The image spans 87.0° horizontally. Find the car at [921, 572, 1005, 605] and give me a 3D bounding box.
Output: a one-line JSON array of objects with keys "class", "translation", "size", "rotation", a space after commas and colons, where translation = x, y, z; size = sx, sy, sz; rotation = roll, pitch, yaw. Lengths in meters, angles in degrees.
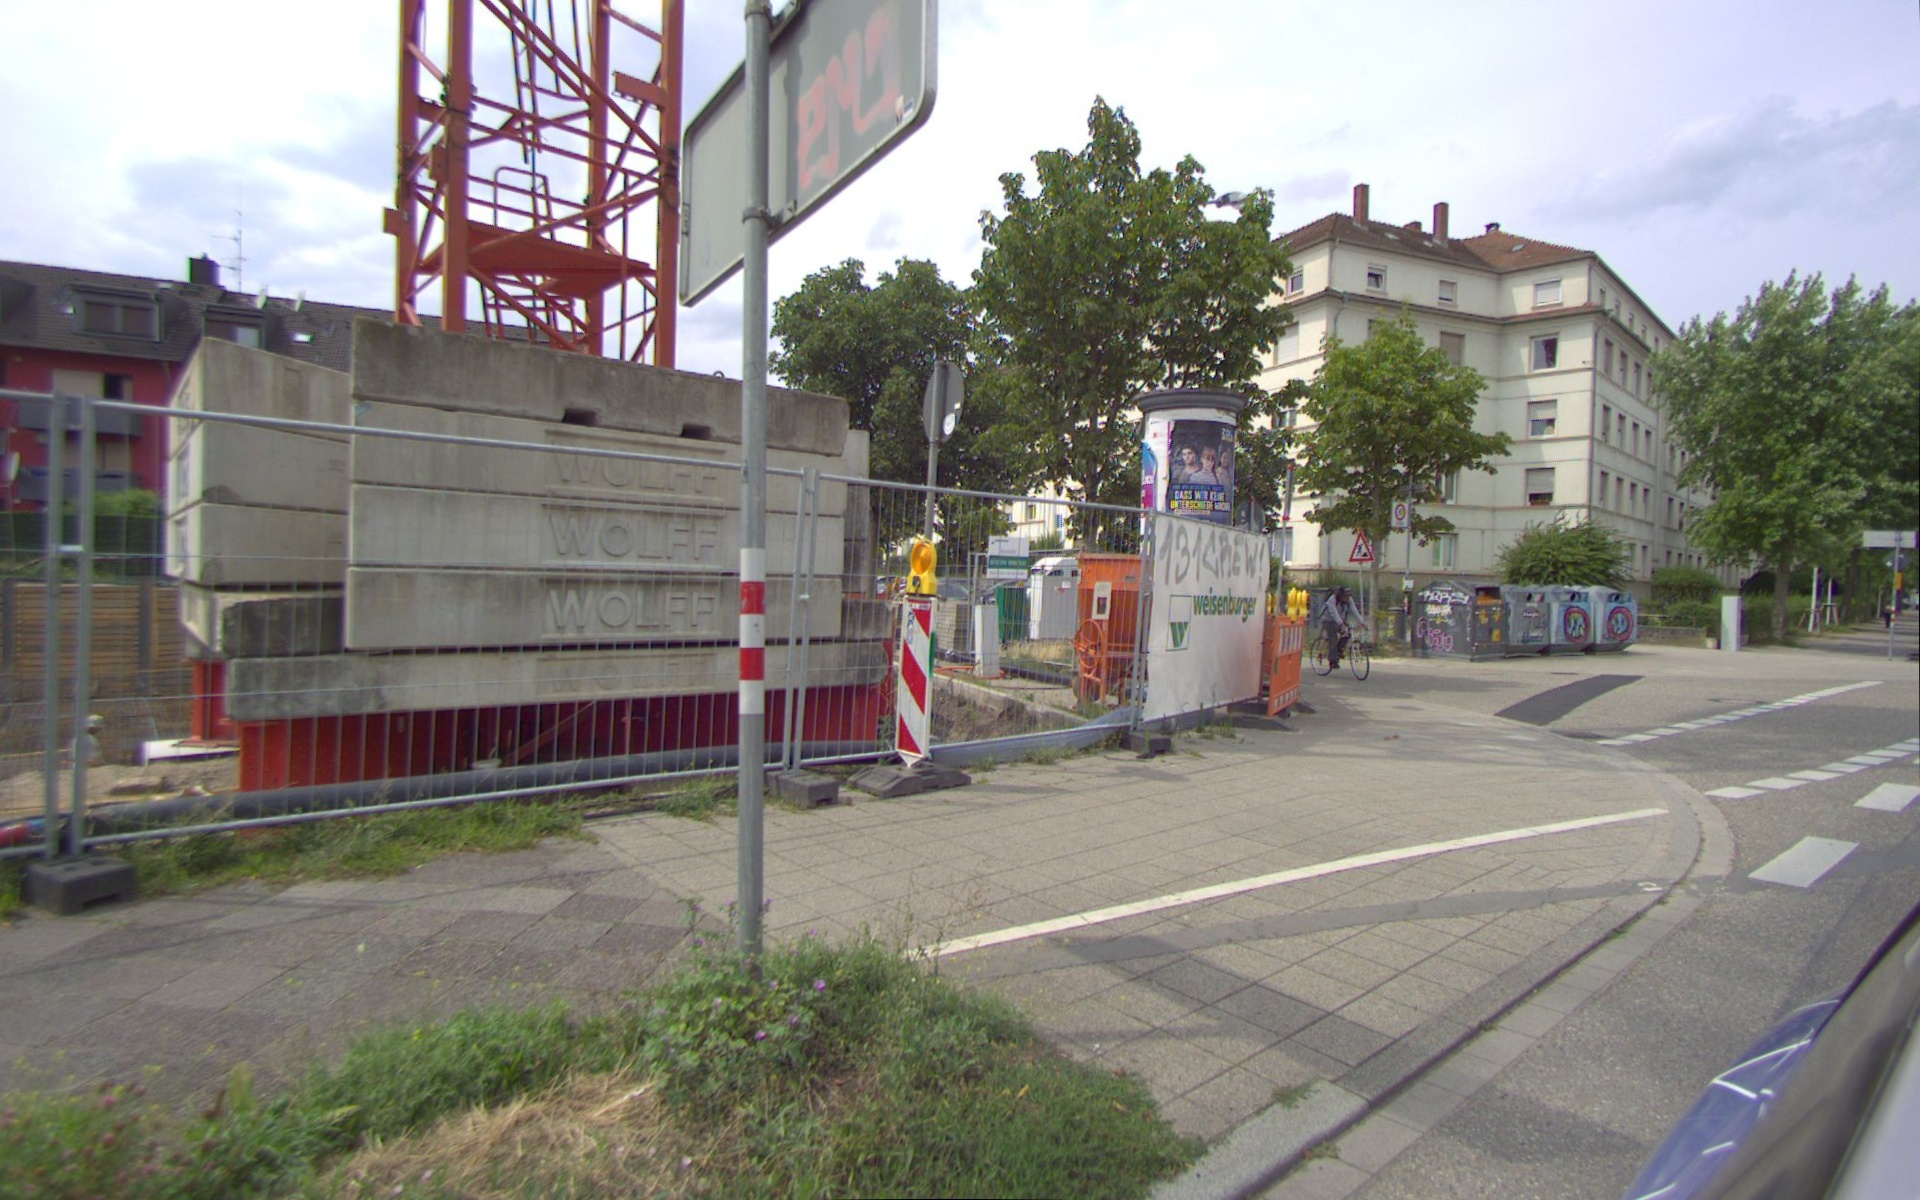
[{"class": "car", "translation": [0.152, -0.573, 51.265], "size": [3.837, 1.609, 1.803], "rotation": [-1, 0, -21]}]

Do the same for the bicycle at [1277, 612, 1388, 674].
[{"class": "bicycle", "translation": [6.572, 0.725, 18.030], "size": [0.700, 0.945, 2.484], "rotation": [1, 1, -9]}]

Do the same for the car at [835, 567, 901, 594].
[{"class": "car", "translation": [-5.868, -1.242, 64.645], "size": [3.837, 1.609, 1.803], "rotation": [-1, 0, -21]}]

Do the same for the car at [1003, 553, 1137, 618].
[{"class": "car", "translation": [4.436, -0.601, 40.878], "size": [4.999, 2.484, 1.905], "rotation": [-1, 0, -21]}]

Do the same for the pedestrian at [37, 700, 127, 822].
[{"class": "pedestrian", "translation": [-13.829, 2.522, 15.967], "size": [0.706, 1.743, 0.846], "rotation": [2, 2, -4]}]

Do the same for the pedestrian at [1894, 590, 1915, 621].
[{"class": "pedestrian", "translation": [57.537, 0.348, 61.669], "size": [0.751, 1.825, 0.807], "rotation": [-1, 3, -44]}]

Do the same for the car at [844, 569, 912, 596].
[{"class": "car", "translation": [-5.066, -1.088, 62.383], "size": [3.837, 1.609, 1.803], "rotation": [-1, 0, -21]}]

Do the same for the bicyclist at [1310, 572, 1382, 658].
[{"class": "bicyclist", "translation": [6.668, 0.259, 17.521], "size": [0.700, 1.431, 1.082], "rotation": [1, -2, -9]}]
